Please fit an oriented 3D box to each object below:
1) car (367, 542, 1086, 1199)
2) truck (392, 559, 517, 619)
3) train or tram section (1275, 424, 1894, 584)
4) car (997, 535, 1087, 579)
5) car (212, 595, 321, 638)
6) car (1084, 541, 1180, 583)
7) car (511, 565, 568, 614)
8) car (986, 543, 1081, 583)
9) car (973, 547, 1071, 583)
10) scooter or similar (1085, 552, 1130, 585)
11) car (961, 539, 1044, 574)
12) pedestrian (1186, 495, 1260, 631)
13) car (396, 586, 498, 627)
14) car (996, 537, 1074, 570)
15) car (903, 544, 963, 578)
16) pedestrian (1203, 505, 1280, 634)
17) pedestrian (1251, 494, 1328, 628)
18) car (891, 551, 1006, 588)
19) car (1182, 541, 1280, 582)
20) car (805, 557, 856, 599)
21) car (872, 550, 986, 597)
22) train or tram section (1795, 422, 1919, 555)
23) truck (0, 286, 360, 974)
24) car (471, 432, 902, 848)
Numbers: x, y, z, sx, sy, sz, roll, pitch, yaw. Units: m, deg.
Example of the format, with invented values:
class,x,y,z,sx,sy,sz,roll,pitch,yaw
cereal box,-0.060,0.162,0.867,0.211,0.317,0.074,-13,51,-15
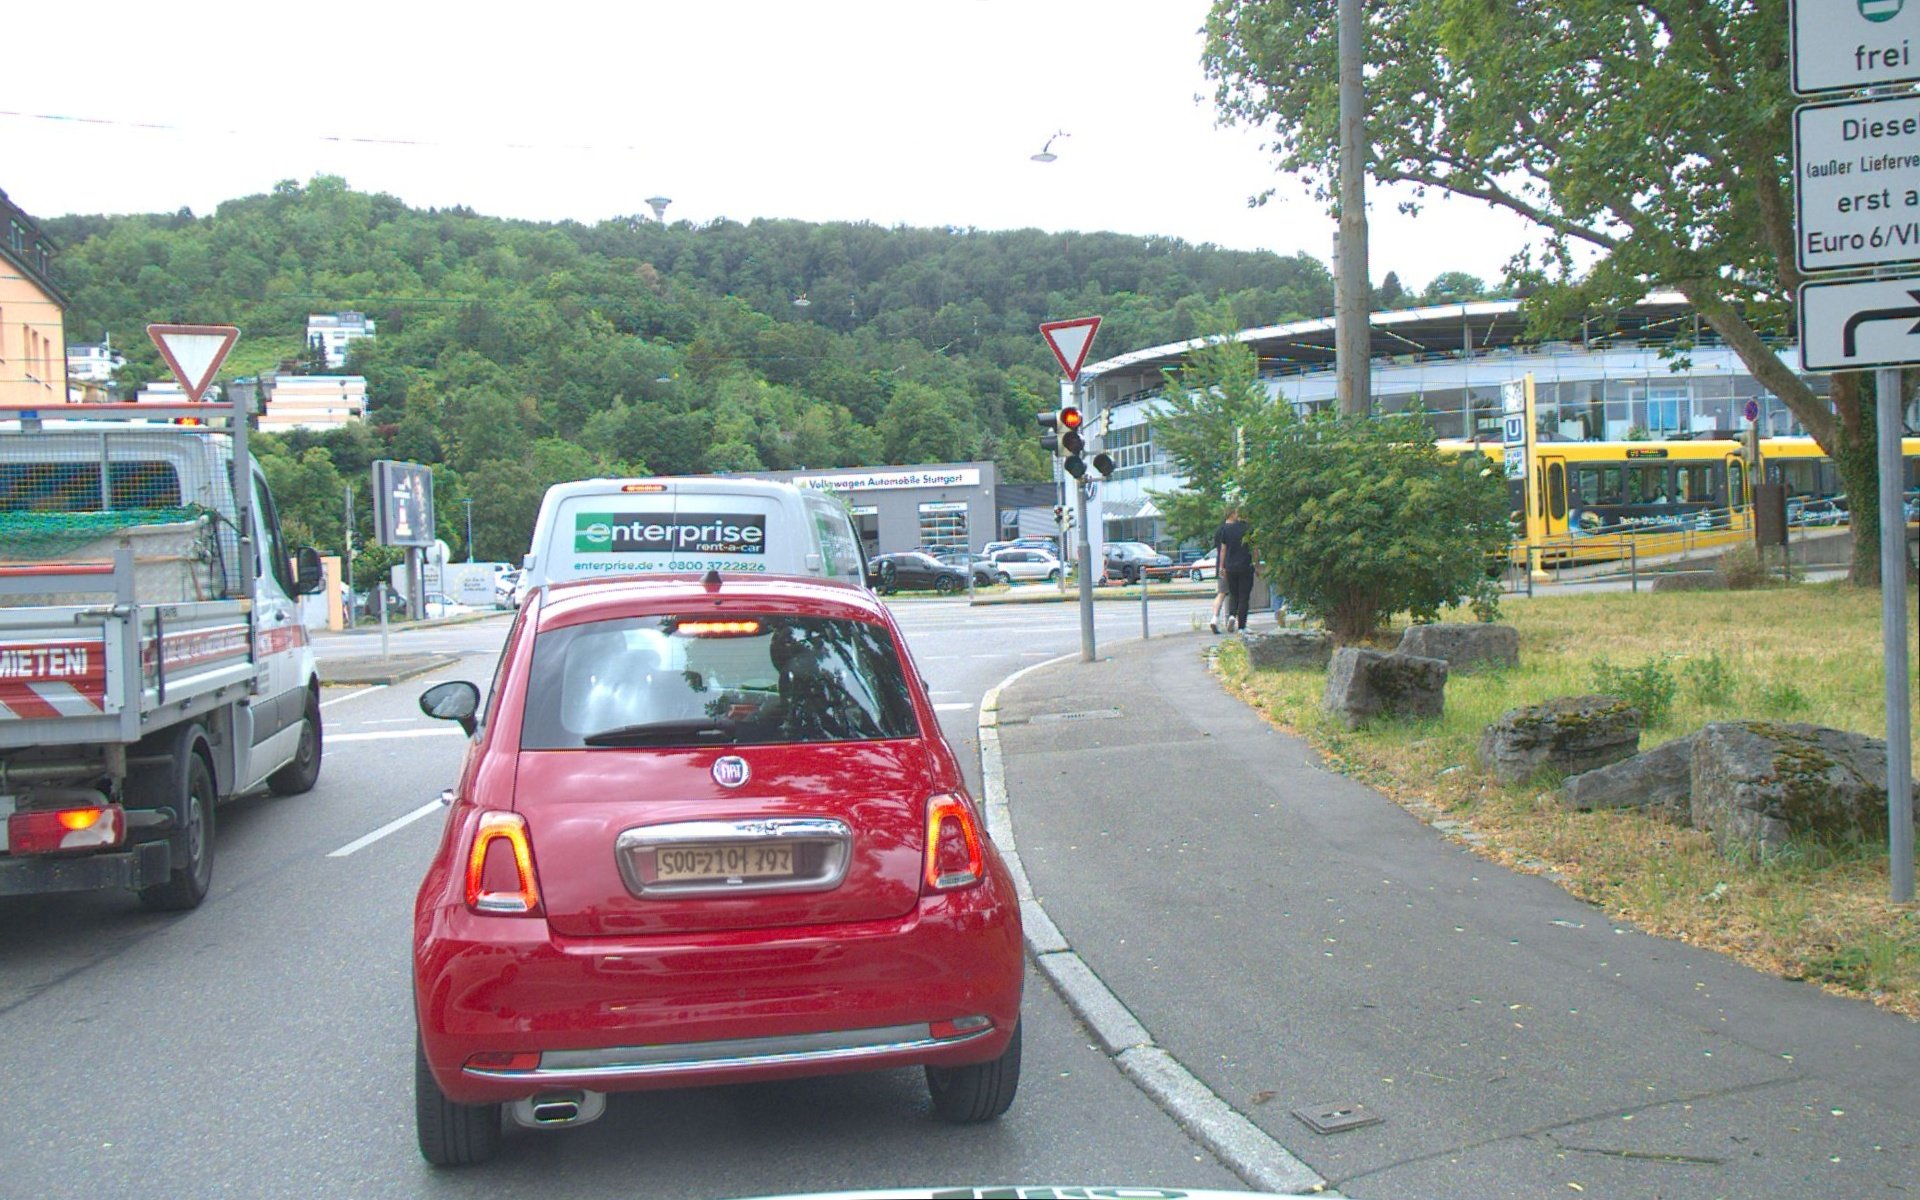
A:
class,x,y,z,sx,sy,sz,roll,pitch,yaw
car,-0.837,0.602,5.500,1.610,1.482,3.421,-2,1,-12
truck,-23.141,-0.523,75.731,5.127,2.434,1.981,-3,2,-29
train or tram section,17.453,-2.729,45.086,18.859,3.729,3.254,-3,2,-24
car,4.419,-2.331,89.611,4.696,2.194,2.234,-2,1,2
car,-29.425,0.668,70.292,4.146,1.560,1.763,-3,2,-23
car,6.747,-1.493,65.195,1.754,1.526,3.837,-3,2,-33
car,-17.291,-0.458,68.137,1.826,1.849,4.393,-3,2,-9
car,3.756,-1.894,84.685,4.696,1.834,1.776,-2,1,2
car,3.057,-1.738,81.129,4.696,1.560,1.776,-2,1,2
scooter or similar,5.583,-1.190,62.386,1.633,1.198,0.468,-2,1,6
car,2.470,-2.545,96.268,4.696,1.834,1.776,-2,1,2
pedestrian,3.749,-0.527,23.582,0.682,1.889,0.785,-2,1,37
car,-22.483,0.285,72.631,4.135,1.560,1.768,-3,2,-16
car,4.577,-2.853,101.192,4.696,1.834,1.776,-2,1,2
car,-1.582,-2.357,99.557,1.954,1.847,3.997,-2,2,26
pedestrian,3.898,-0.425,22.890,0.682,1.744,0.784,-2,2,41
pedestrian,4.495,-0.535,22.529,0.682,1.770,0.785,-2,1,39
car,-0.486,-1.296,70.486,4.572,1.351,1.777,-2,1,13
car,10.952,-1.545,67.027,1.753,1.526,3.979,-3,2,-31
car,-6.131,-1.072,78.746,1.952,1.847,4.001,-2,2,1
car,-1.138,-0.987,61.369,3.787,1.526,1.777,-2,1,16
train or tram section,34.702,-3.694,52.623,18.859,3.729,3.254,-3,2,-24
truck,-4.806,0.111,8.620,2.381,2.439,6.008,-3,1,-14
car,-1.556,0.157,11.282,1.948,2.143,4.763,-3,1,1
